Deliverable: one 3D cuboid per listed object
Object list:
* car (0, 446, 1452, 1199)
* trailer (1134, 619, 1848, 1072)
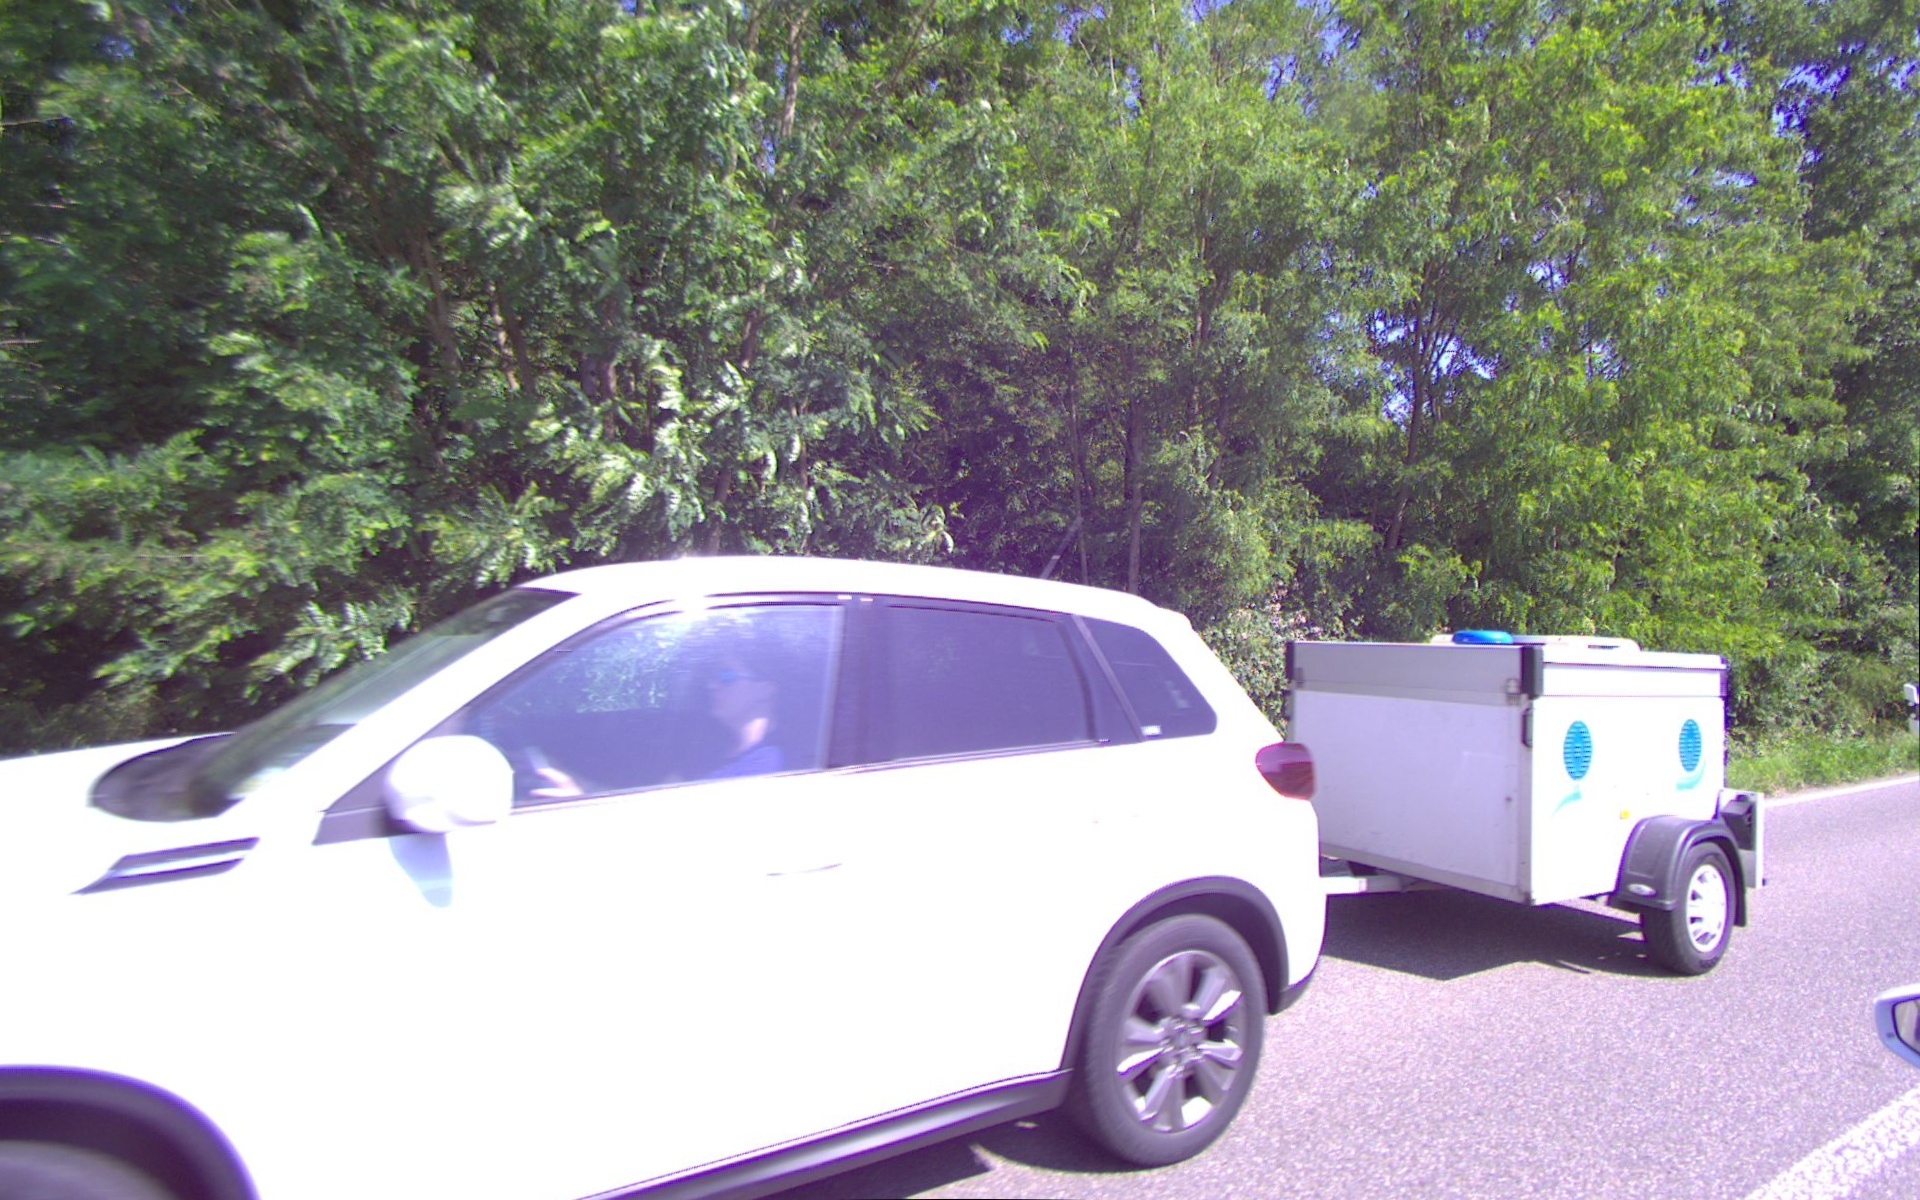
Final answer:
[{"bbox_3d":[-0.608,0.665,2.843,3.956,1.699,1.800,1,-1,-32],"label":"car"},{"bbox_3d":[2.574,0.842,4.762,3.230,1.460,1.552,1,-1,-31],"label":"trailer"}]
